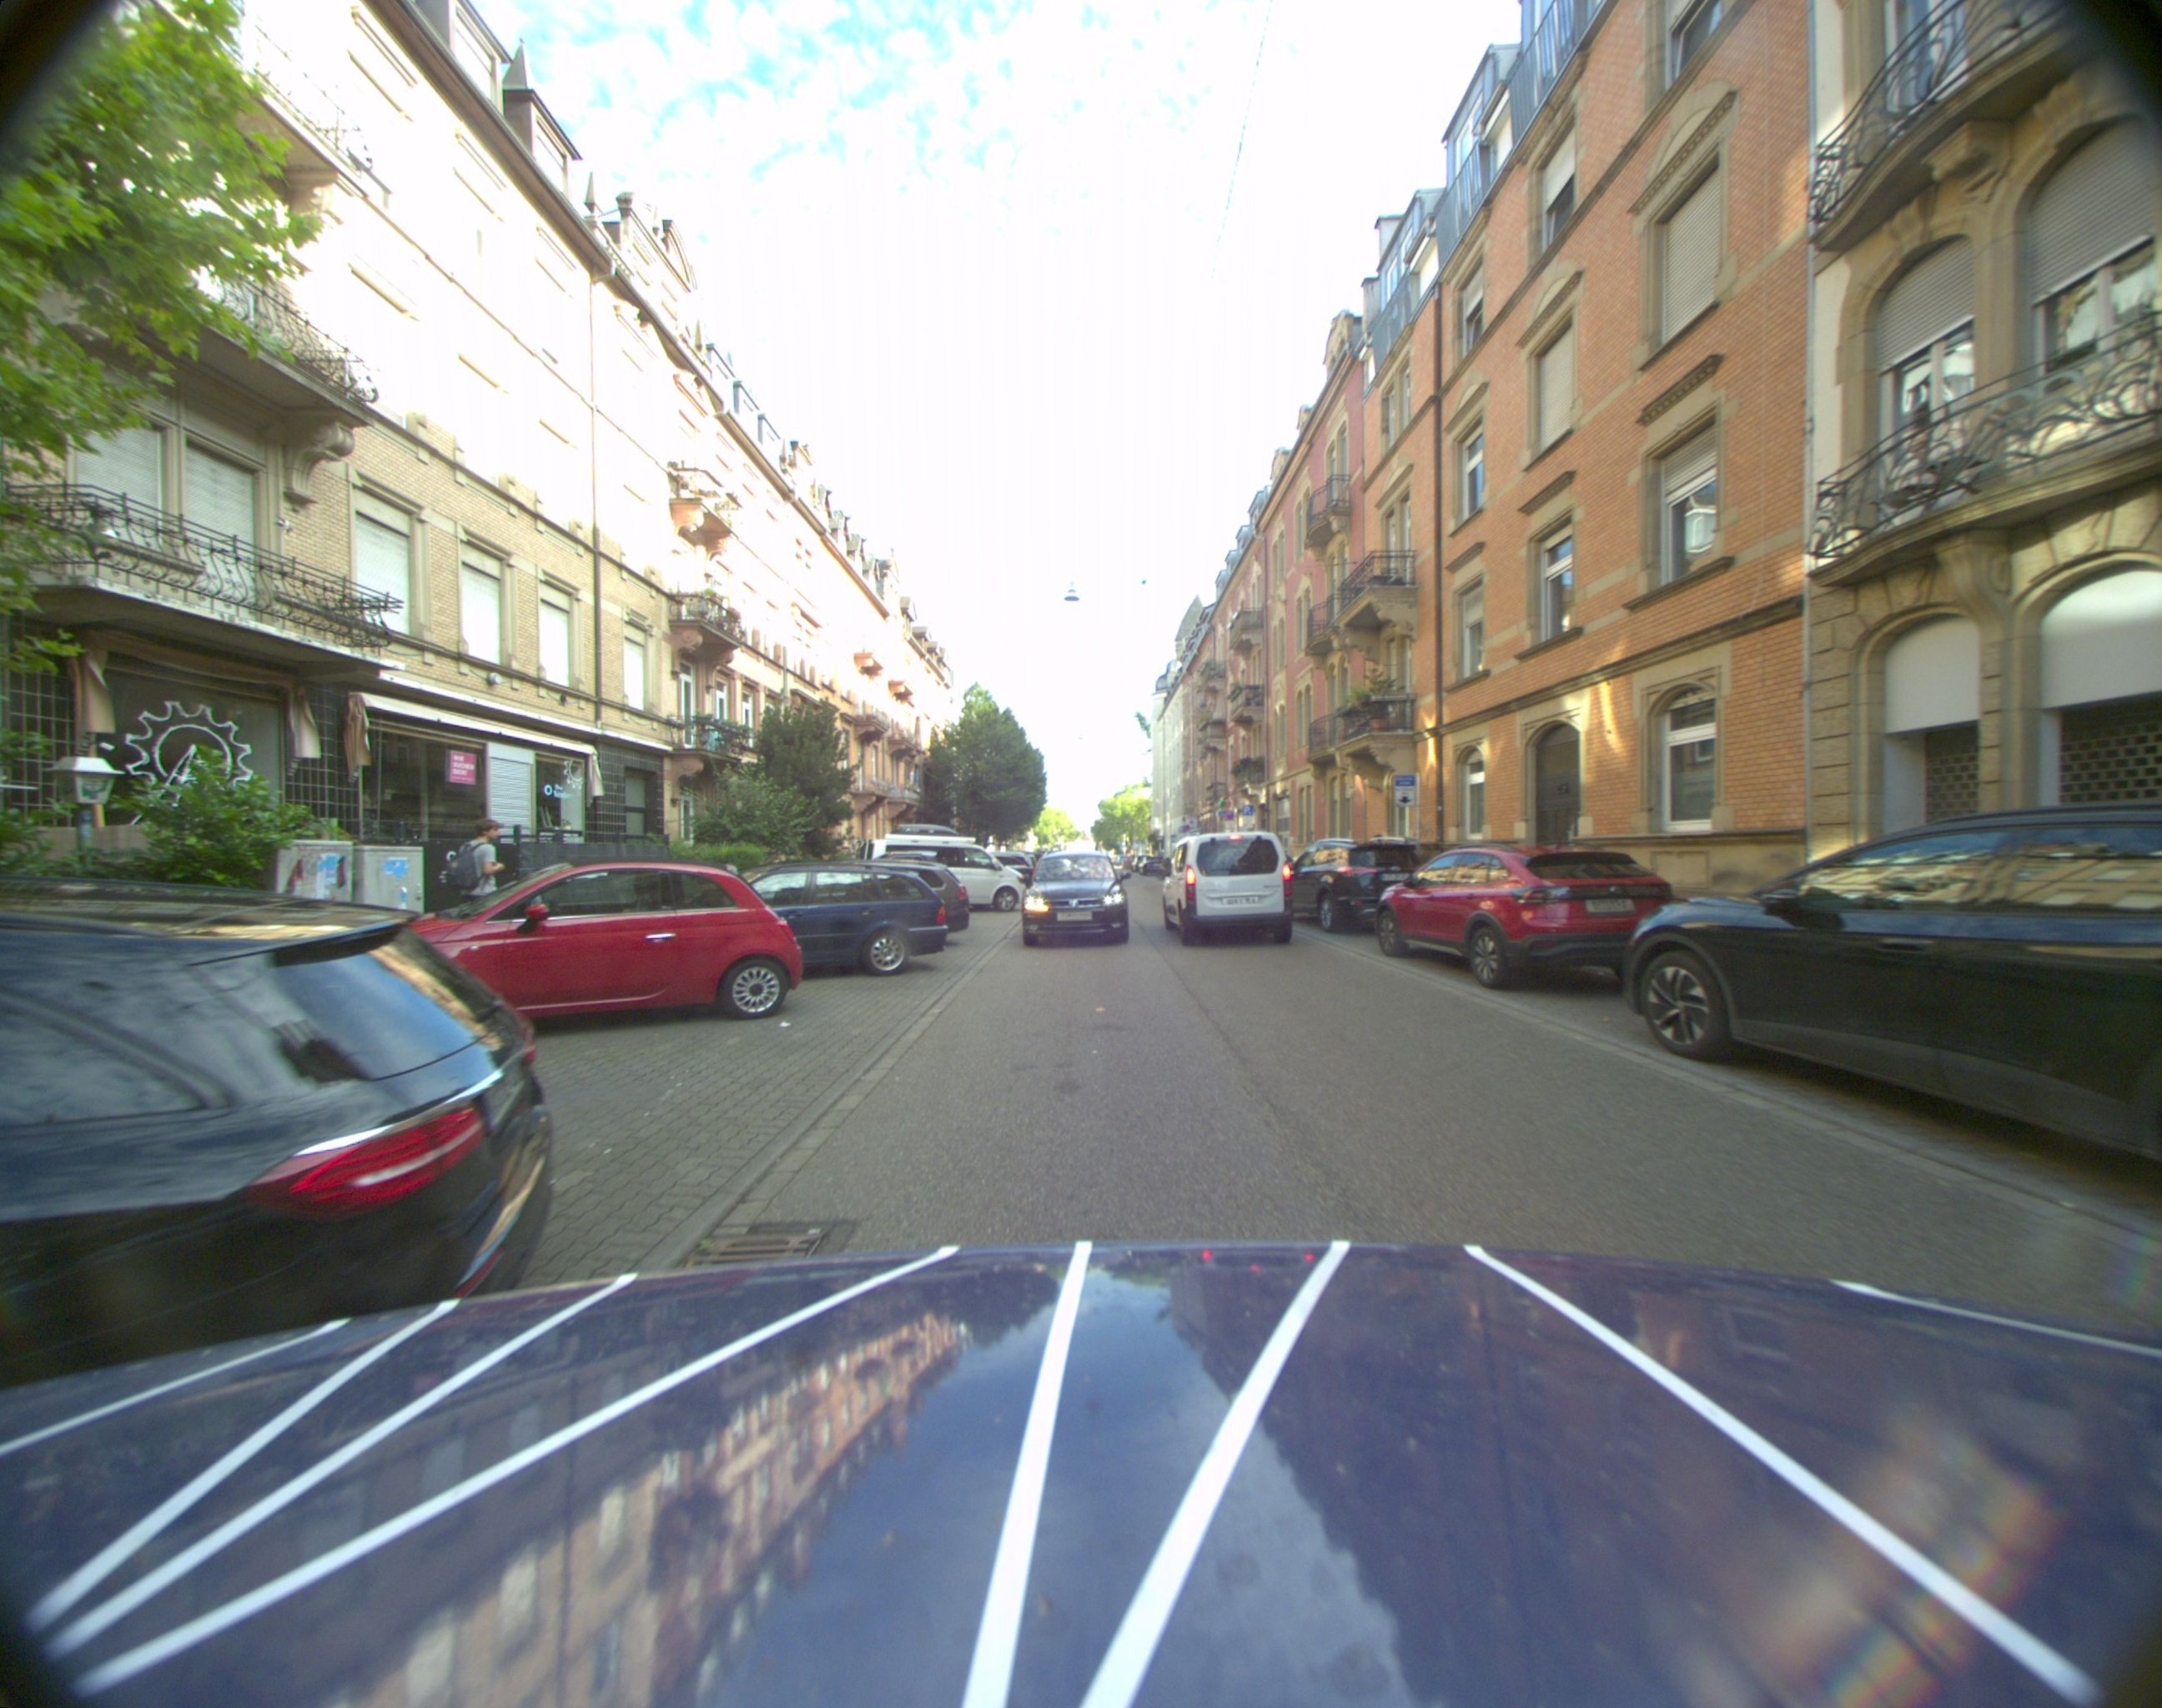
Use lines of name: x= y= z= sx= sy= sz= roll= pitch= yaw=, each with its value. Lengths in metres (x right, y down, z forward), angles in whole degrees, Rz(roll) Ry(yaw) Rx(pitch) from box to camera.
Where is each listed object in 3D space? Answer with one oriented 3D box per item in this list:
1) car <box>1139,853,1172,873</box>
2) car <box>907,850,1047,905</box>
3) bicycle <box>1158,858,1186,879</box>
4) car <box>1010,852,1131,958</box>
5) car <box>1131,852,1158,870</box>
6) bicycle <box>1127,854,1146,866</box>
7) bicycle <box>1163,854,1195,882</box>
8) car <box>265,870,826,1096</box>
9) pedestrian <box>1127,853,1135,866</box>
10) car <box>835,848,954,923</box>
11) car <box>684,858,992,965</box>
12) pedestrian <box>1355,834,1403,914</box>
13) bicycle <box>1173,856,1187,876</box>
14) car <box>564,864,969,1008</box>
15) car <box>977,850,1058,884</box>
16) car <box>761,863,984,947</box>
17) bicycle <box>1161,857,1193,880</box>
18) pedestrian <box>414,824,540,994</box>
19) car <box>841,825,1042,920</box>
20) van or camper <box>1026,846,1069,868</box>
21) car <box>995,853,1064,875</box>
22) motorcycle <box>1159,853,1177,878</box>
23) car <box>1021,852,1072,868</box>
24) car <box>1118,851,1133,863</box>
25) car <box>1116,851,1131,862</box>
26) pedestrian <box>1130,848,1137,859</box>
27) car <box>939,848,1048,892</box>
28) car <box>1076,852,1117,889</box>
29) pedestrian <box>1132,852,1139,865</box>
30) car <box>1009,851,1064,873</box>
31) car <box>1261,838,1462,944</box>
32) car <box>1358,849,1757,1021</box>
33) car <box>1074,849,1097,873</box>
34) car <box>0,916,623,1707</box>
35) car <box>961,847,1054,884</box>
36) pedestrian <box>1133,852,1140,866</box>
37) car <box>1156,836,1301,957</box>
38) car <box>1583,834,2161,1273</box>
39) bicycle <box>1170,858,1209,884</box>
car: x=5.330 y=0.618 z=54.896 sx=1.816 sy=1.343 sz=5.114 roll=-1 pitch=0 yaw=0
car: x=-3.649 y=0.765 z=26.907 sx=4.465 sy=1.722 sz=1.995 roll=-1 pitch=0 yaw=-34
bicycle: x=5.059 y=0.794 z=42.199 sx=1.573 sy=1.114 sz=0.589 roll=-2 pitch=1 yaw=-36
car: x=-0.034 y=0.827 z=14.484 sx=1.874 sy=1.644 sz=4.388 roll=-2 pitch=0 yaw=4
car: x=5.387 y=0.547 z=64.759 sx=1.674 sy=1.407 sz=4.011 roll=-2 pitch=0 yaw=-3
bicycle: x=5.700 y=0.635 z=77.563 sx=1.872 sy=1.168 sz=0.688 roll=-2 pitch=1 yaw=2
bicycle: x=4.957 y=0.710 z=38.470 sx=1.680 sy=1.314 sz=0.526 roll=-2 pitch=1 yaw=-35
car: x=-4.470 y=0.901 z=6.878 sx=3.727 sy=1.476 sz=1.736 roll=1 pitch=-1 yaw=-37
pedestrian: x=5.199 y=0.547 z=79.272 sx=0.739 sy=1.341 sz=0.644 roll=-2 pitch=1 yaw=3
car: x=-4.438 y=0.752 z=18.096 sx=2.472 sy=1.656 sz=1.344 roll=3 pitch=-2 yaw=-26
car: x=-3.911 y=0.884 z=12.655 sx=4.479 sy=1.468 sz=1.884 roll=3 pitch=-2 yaw=-39
pedestrian: x=6.890 y=0.450 z=17.606 sx=0.758 sy=1.797 sz=0.863 roll=-2 pitch=1 yaw=4
bicycle: x=5.731 y=0.680 z=43.873 sx=0.579 sy=1.084 sz=1.740 roll=-2 pitch=0 yaw=14
car: x=-3.899 y=0.901 z=9.752 sx=4.477 sy=1.455 sz=1.875 roll=2 pitch=-1 yaw=-34
car: x=-3.460 y=0.693 z=41.558 sx=4.007 sy=1.731 sz=1.835 roll=1 pitch=0 yaw=-30
car: x=-4.131 y=0.931 z=15.393 sx=4.003 sy=1.451 sz=1.746 roll=1 pitch=0 yaw=-41
bicycle: x=5.271 y=0.787 z=41.581 sx=1.794 sy=1.193 sz=0.589 roll=-2 pitch=1 yaw=-36
pedestrian: x=-6.930 y=0.604 z=8.750 sx=0.841 sy=1.867 sz=0.723 roll=0 pitch=1 yaw=5
car: x=-3.817 y=0.463 z=21.179 sx=5.169 sy=2.391 sz=1.913 roll=0 pitch=1 yaw=-32
van or camper: x=-3.543 y=0.312 z=80.054 sx=4.006 sy=2.166 sz=1.995 roll=-2 pitch=1 yaw=-30
car: x=-3.696 y=0.731 z=54.950 sx=4.620 sy=1.443 sz=1.788 roll=1 pitch=0 yaw=-31
motorcycle: x=5.045 y=0.634 z=44.098 sx=0.708 sy=1.376 sz=2.026 roll=-2 pitch=0 yaw=15
car: x=-3.485 y=0.619 z=77.514 sx=4.817 sy=1.535 sz=1.866 roll=1 pitch=1 yaw=-32
car: x=5.891 y=0.332 z=101.204 sx=1.828 sy=1.477 sz=4.170 roll=-2 pitch=0 yaw=0
car: x=5.940 y=0.313 z=107.223 sx=1.911 sy=1.412 sz=4.000 roll=-2 pitch=0 yaw=0
pedestrian: x=7.927 y=-0.054 z=114.549 sx=0.845 sy=1.699 sz=0.879 roll=-2 pitch=1 yaw=1
car: x=-3.902 y=0.727 z=34.461 sx=4.648 sy=1.774 sz=1.810 roll=2 pitch=-2 yaw=-1
car: x=0.783 y=0.782 z=37.446 sx=1.811 sy=1.622 sz=4.000 roll=-3 pitch=0 yaw=2
pedestrian: x=5.747 y=0.501 z=80.064 sx=0.668 sy=1.328 sz=0.740 roll=-2 pitch=1 yaw=7
car: x=-3.583 y=0.615 z=61.227 sx=4.007 sy=1.689 sz=1.848 roll=0 pitch=-1 yaw=-34
car: x=5.169 y=0.618 z=14.857 sx=1.878 sy=1.671 sz=4.893 roll=-2 pitch=0 yaw=-3
car: x=5.136 y=0.722 z=9.121 sx=1.999 sy=1.536 sz=4.426 roll=-1 pitch=1 yaw=0
car: x=0.409 y=0.588 z=64.716 sx=1.811 sy=1.914 sz=4.000 roll=-3 pitch=0 yaw=2
car: x=-3.679 y=0.925 z=1.328 sx=4.776 sy=1.448 sz=2.052 roll=2 pitch=-1 yaw=-27
car: x=-3.744 y=0.588 z=38.911 sx=4.411 sy=1.812 sz=1.750 roll=1 pitch=1 yaw=-31
pedestrian: x=5.743 y=0.492 z=78.689 sx=0.689 sy=1.365 sz=0.739 roll=-2 pitch=1 yaw=4
car: x=2.508 y=0.652 z=13.992 sx=1.922 sy=1.817 sz=4.438 roll=-2 pitch=0 yaw=2
car: x=4.888 y=0.719 z=3.651 sx=1.795 sy=1.619 sz=4.847 roll=0 pitch=1 yaw=1
bicycle: x=5.213 y=0.813 z=36.313 sx=0.806 sy=1.152 sz=2.274 roll=-2 pitch=1 yaw=38
